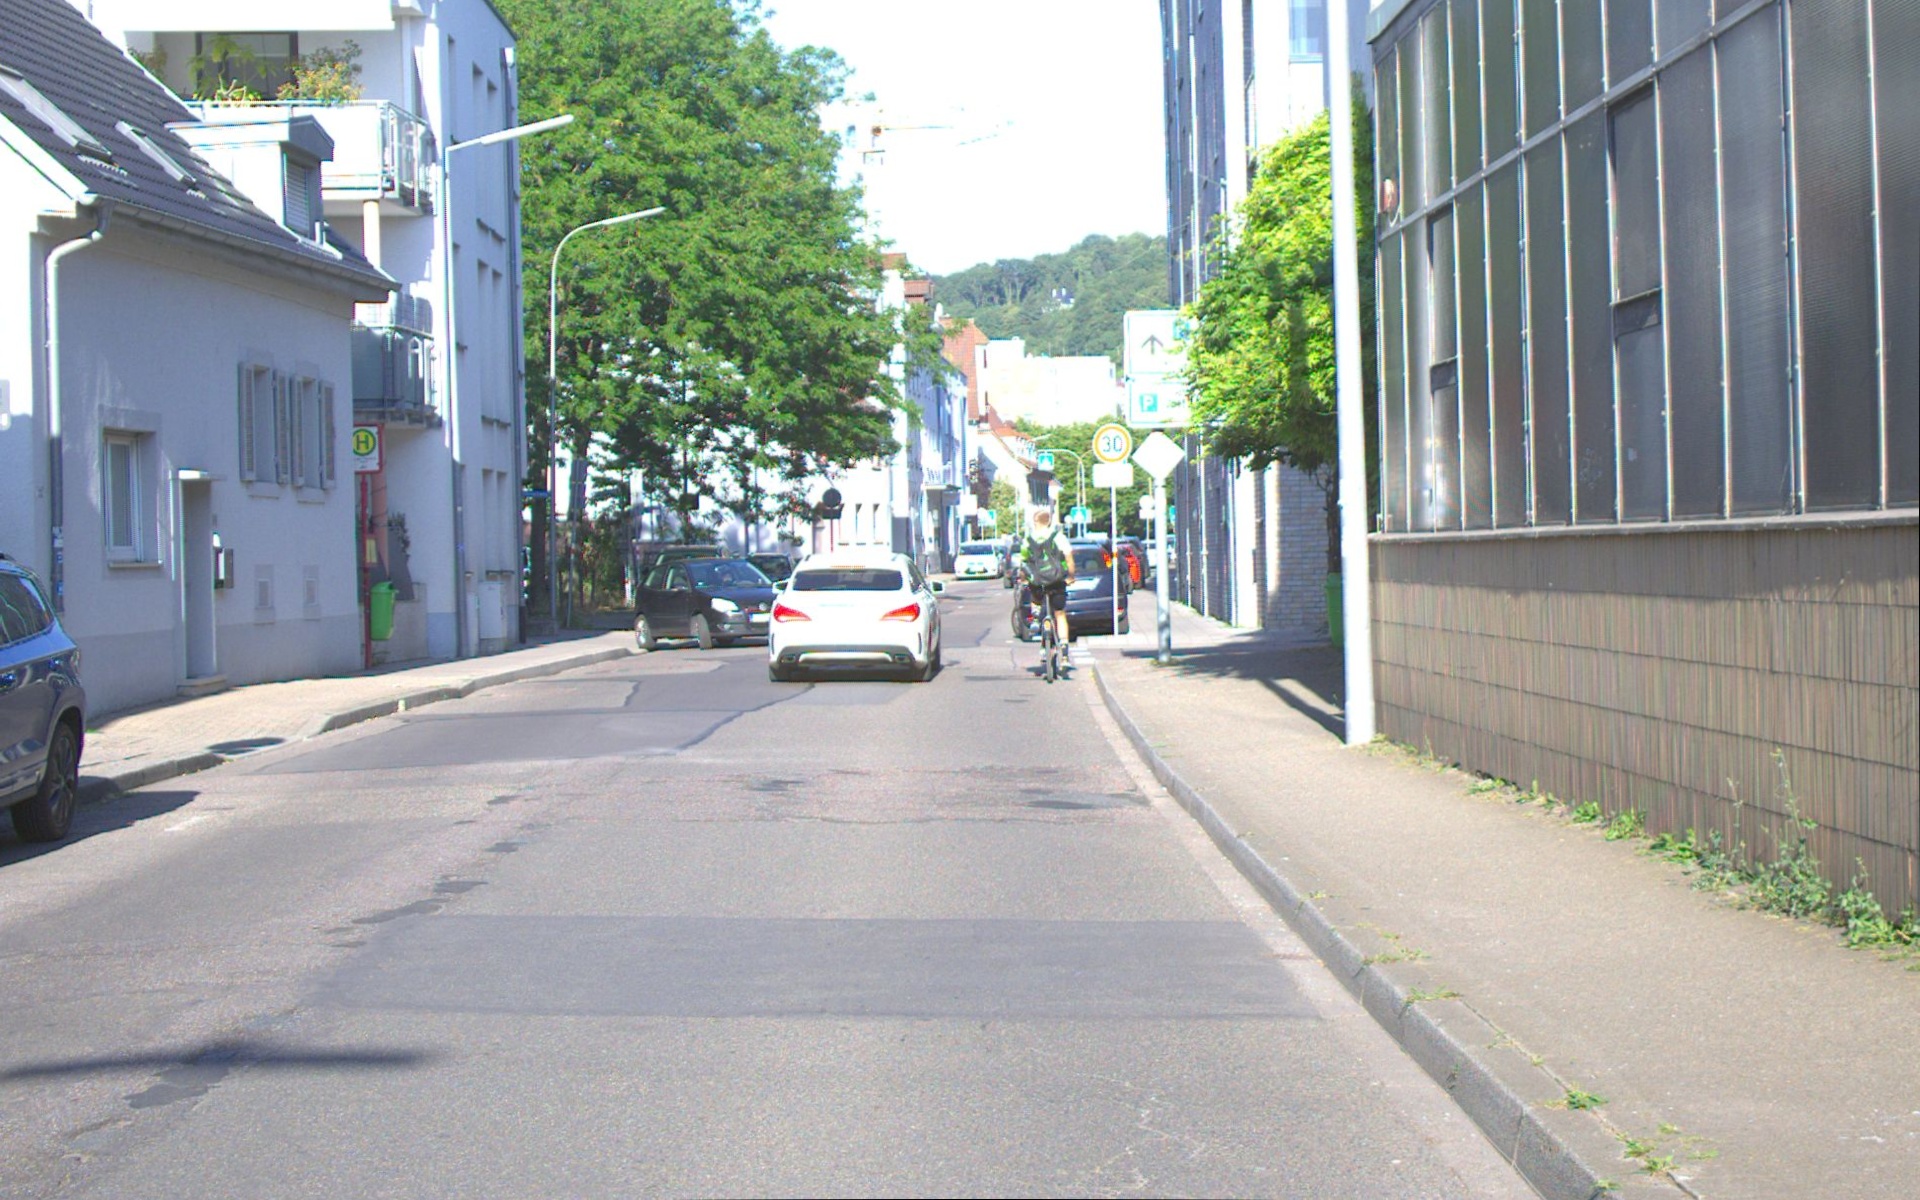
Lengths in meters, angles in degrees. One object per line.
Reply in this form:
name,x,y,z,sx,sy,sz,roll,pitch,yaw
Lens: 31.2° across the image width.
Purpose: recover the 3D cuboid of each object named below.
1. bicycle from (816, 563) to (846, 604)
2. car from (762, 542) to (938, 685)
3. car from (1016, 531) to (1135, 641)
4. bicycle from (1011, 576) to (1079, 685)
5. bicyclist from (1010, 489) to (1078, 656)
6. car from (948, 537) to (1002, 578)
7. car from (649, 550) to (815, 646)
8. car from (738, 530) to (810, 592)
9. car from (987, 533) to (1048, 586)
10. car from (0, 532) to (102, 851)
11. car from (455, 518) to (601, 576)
bicycle,-3.978,-0.509,106.194,0.835,1.213,2.842,-1,1,0
car,-1.212,0.127,38.704,1.842,1.486,4.144,-1,1,-1
car,1.827,-0.247,55.311,1.629,1.581,4.069,-4,1,0
bicycle,0.918,0.312,37.355,0.698,1.126,2.403,-1,0,1
bicyclist,0.910,-0.303,37.488,0.698,1.784,1.041,-1,0,1
car,0.652,-1.820,146.708,1.945,1.581,4.621,-4,1,3
car,-3.766,-0.046,56.177,1.841,1.486,4.145,-1,1,-16
car,-4.911,-1.047,91.268,1.704,1.570,3.914,-1,1,0
car,1.990,-1.428,120.192,1.853,1.785,4.608,-1,1,-2
car,-5.809,0.488,17.600,1.809,1.581,4.193,0,2,0
car,-12.541,-1.545,99.877,3.902,1.570,1.709,-1,1,5
